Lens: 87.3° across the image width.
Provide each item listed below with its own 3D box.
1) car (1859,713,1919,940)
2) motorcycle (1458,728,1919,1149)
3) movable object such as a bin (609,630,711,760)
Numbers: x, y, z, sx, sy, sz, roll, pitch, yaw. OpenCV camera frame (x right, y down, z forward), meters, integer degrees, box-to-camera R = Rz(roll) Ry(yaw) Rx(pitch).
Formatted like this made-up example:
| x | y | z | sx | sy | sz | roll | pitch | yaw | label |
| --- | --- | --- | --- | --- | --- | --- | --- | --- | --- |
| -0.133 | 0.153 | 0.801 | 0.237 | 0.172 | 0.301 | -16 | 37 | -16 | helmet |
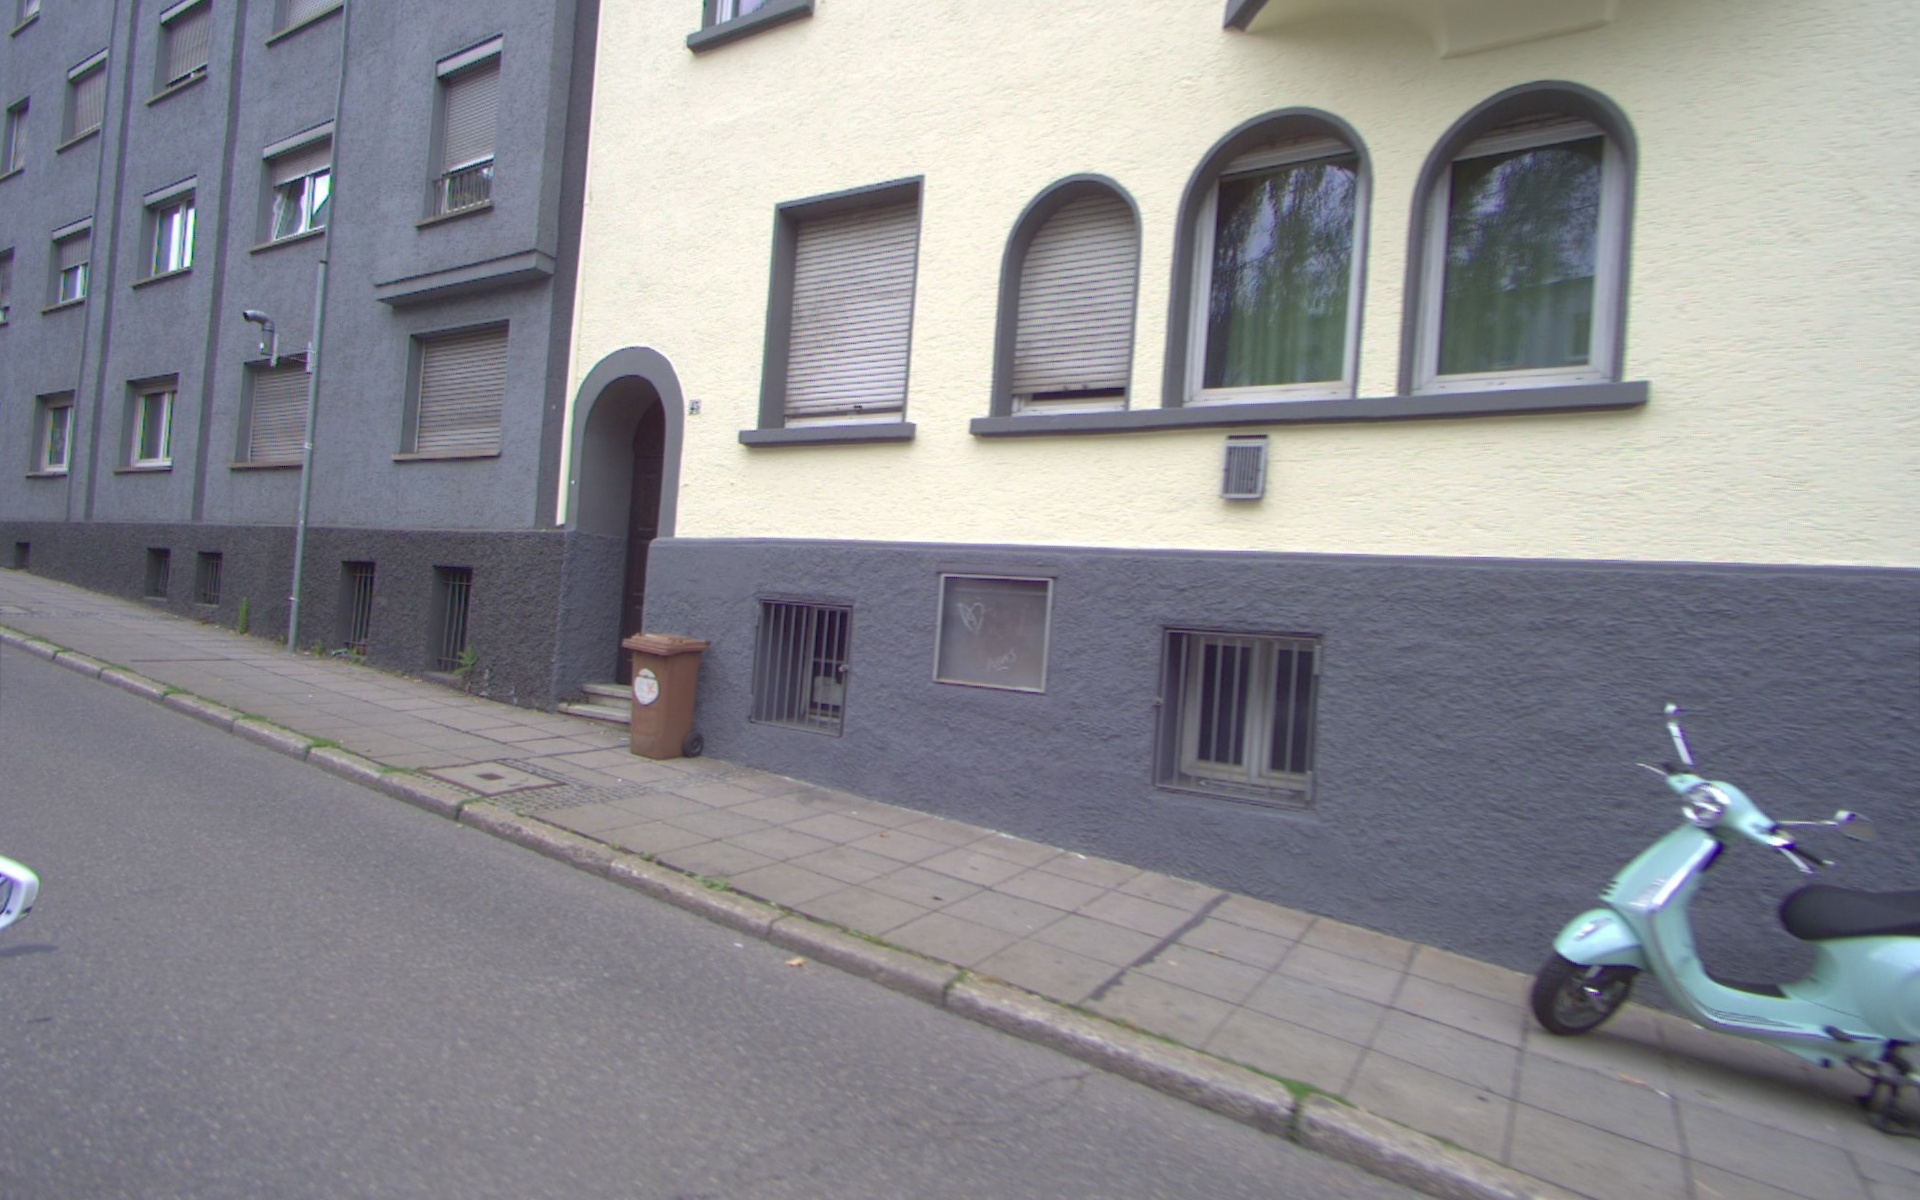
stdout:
| x | y | z | sx | sy | sz | roll | pitch | yaw | label |
| --- | --- | --- | --- | --- | --- | --- | --- | --- | --- |
| 7.072 | 1.618 | 5.909 | 1.854 | 1.442 | 3.989 | 7 | 1 | 32 | car |
| 3.197 | 1.279 | 3.837 | 2.188 | 1.172 | 0.537 | 7 | 4 | 29 | motorcycle |
| -2.301 | 0.707 | 7.729 | 0.508 | 0.904 | 0.474 | 7 | 4 | 31 | movable object such as a bin |
